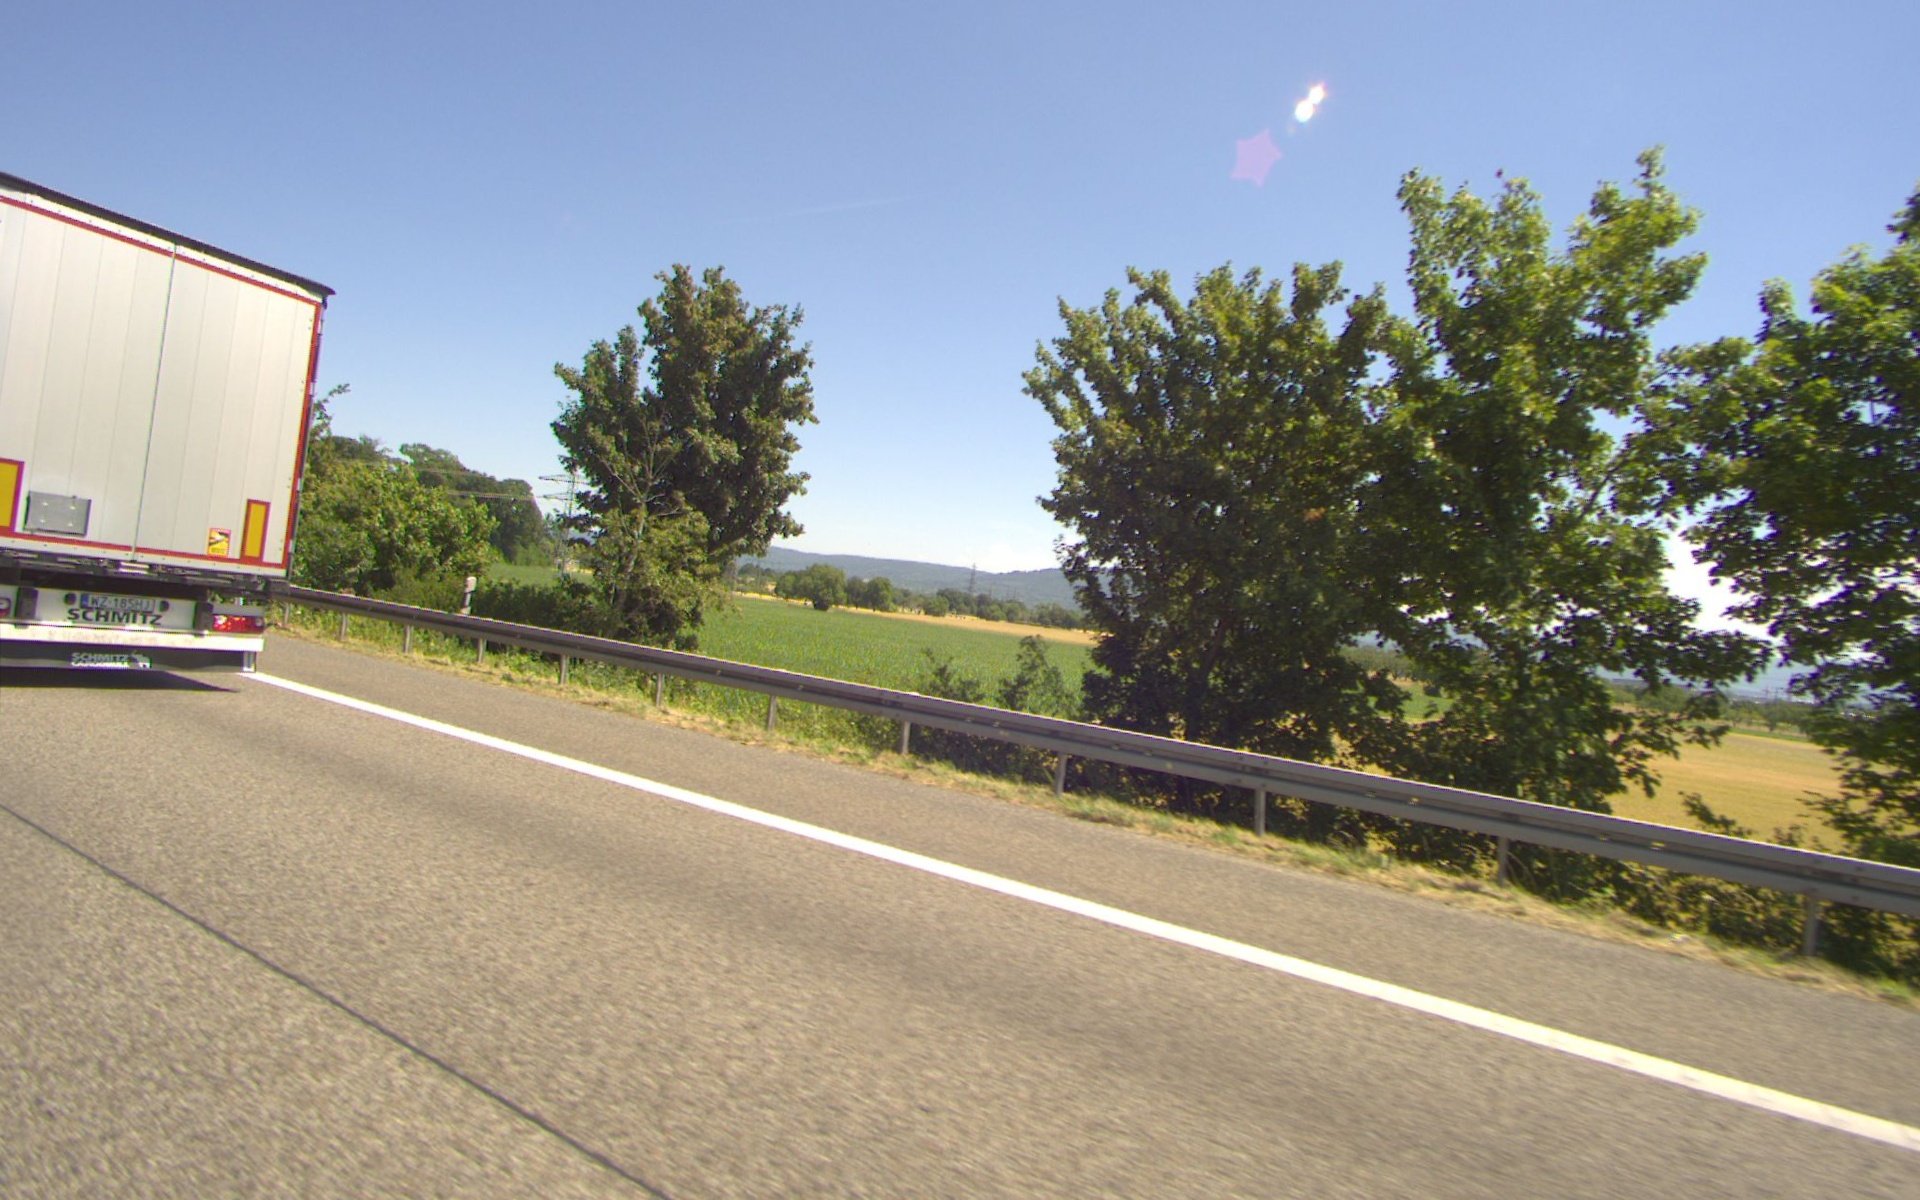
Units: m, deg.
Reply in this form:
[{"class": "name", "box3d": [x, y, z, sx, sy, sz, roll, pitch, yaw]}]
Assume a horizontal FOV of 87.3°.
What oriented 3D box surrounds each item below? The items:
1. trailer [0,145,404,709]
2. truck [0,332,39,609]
[{"class": "trailer", "box3d": [-12.471, -1.819, 12.277, 13.406, 4.229, 3.442, 6, -2, 32]}, {"class": "truck", "box3d": [-18.433, -2.423, 16.005, 6.731, 4.224, 3.472, 6, -2, 31]}]
